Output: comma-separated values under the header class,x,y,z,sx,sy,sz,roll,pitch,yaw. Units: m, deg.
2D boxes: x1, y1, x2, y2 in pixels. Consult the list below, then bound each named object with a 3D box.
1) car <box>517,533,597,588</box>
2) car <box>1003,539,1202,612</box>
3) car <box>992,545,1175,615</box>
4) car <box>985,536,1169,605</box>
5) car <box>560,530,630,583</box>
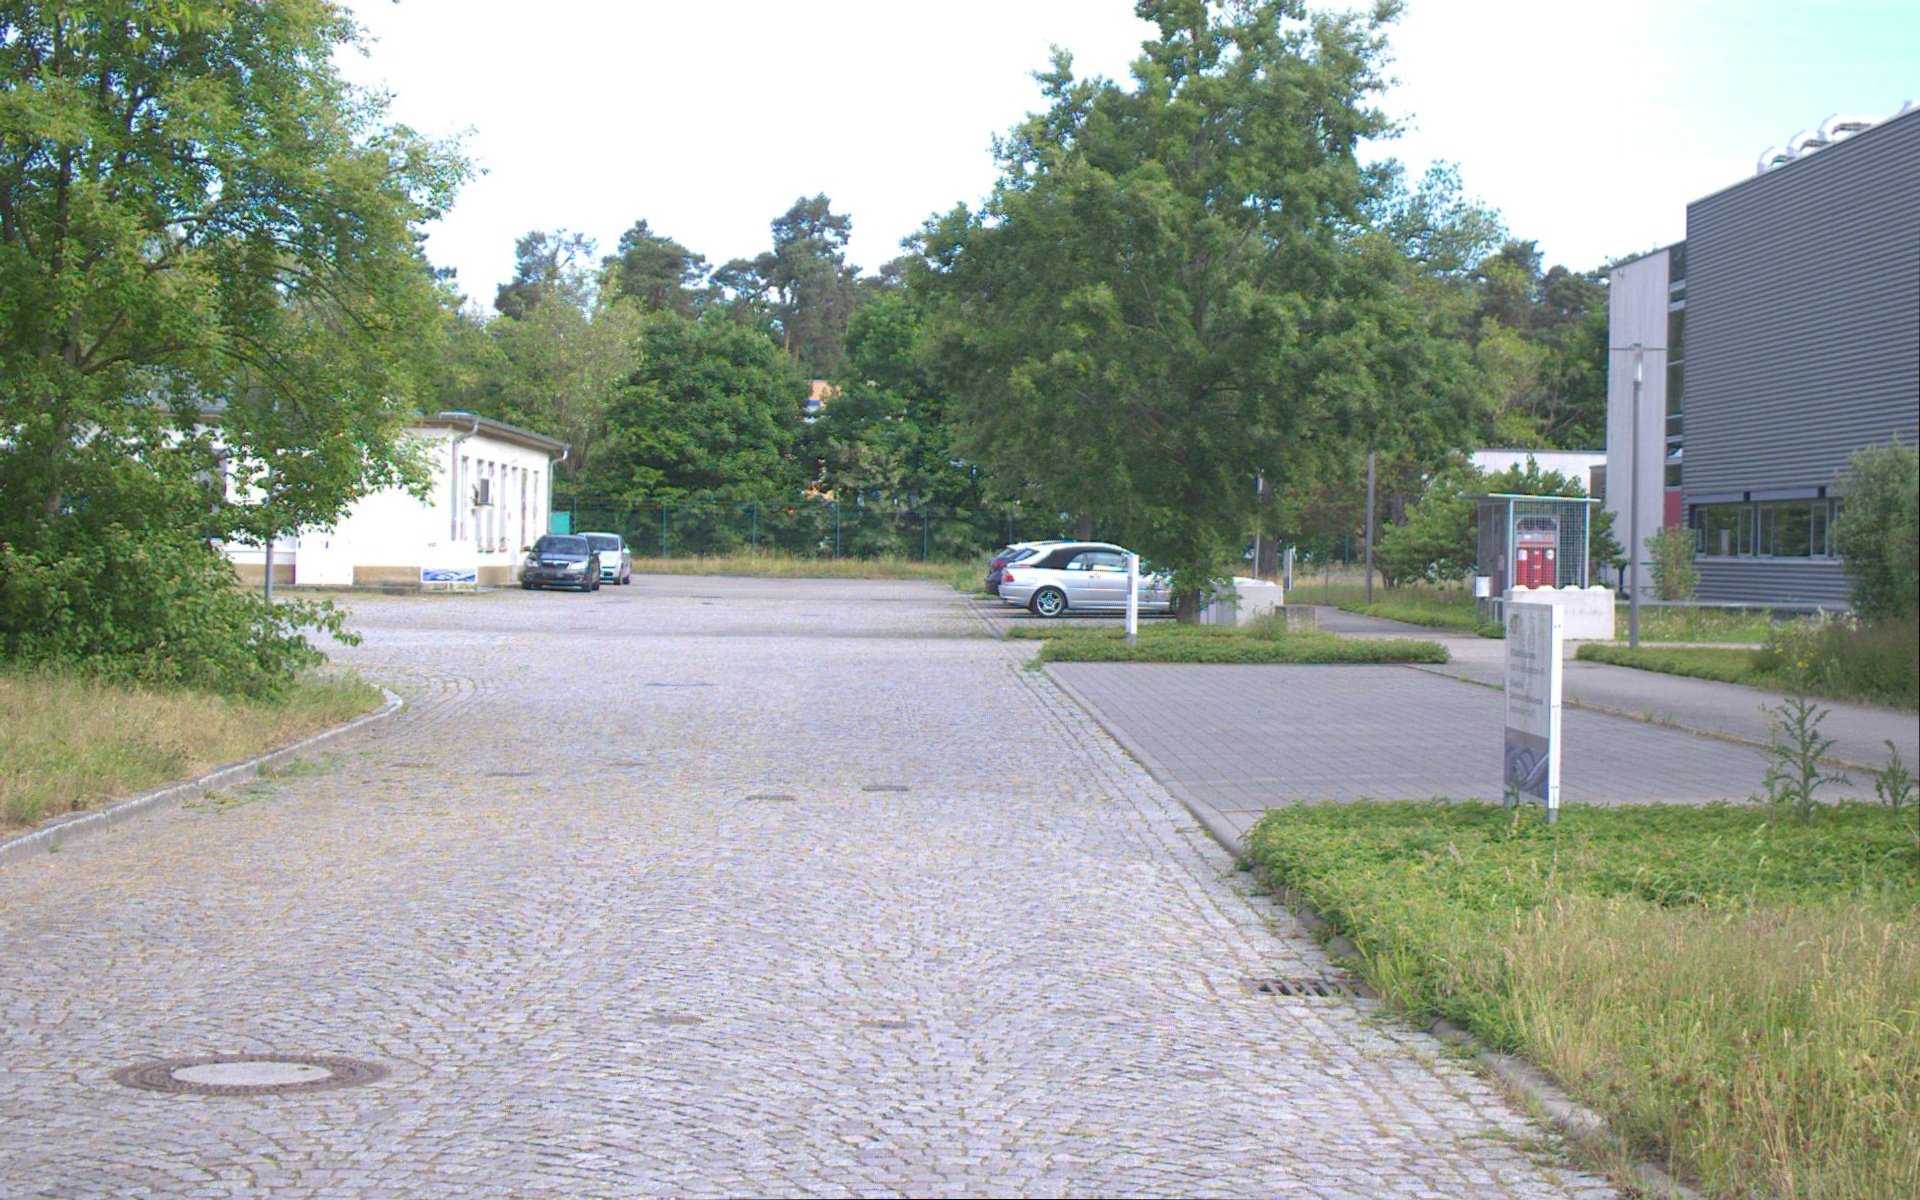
class,x,y,z,sx,sy,sz,roll,pitch,yaw
car,-10.438,-1.040,89.201,1.647,1.364,3.998,2,1,-1
car,2.900,-0.505,70.503,3.984,1.443,1.653,0,1,0
car,2.414,-0.404,67.804,3.522,1.357,1.622,0,1,0
car,2.553,-0.660,75.630,3.984,1.470,1.653,-1,1,0
car,-10.548,-1.268,99.542,1.647,1.453,3.998,2,1,-1
